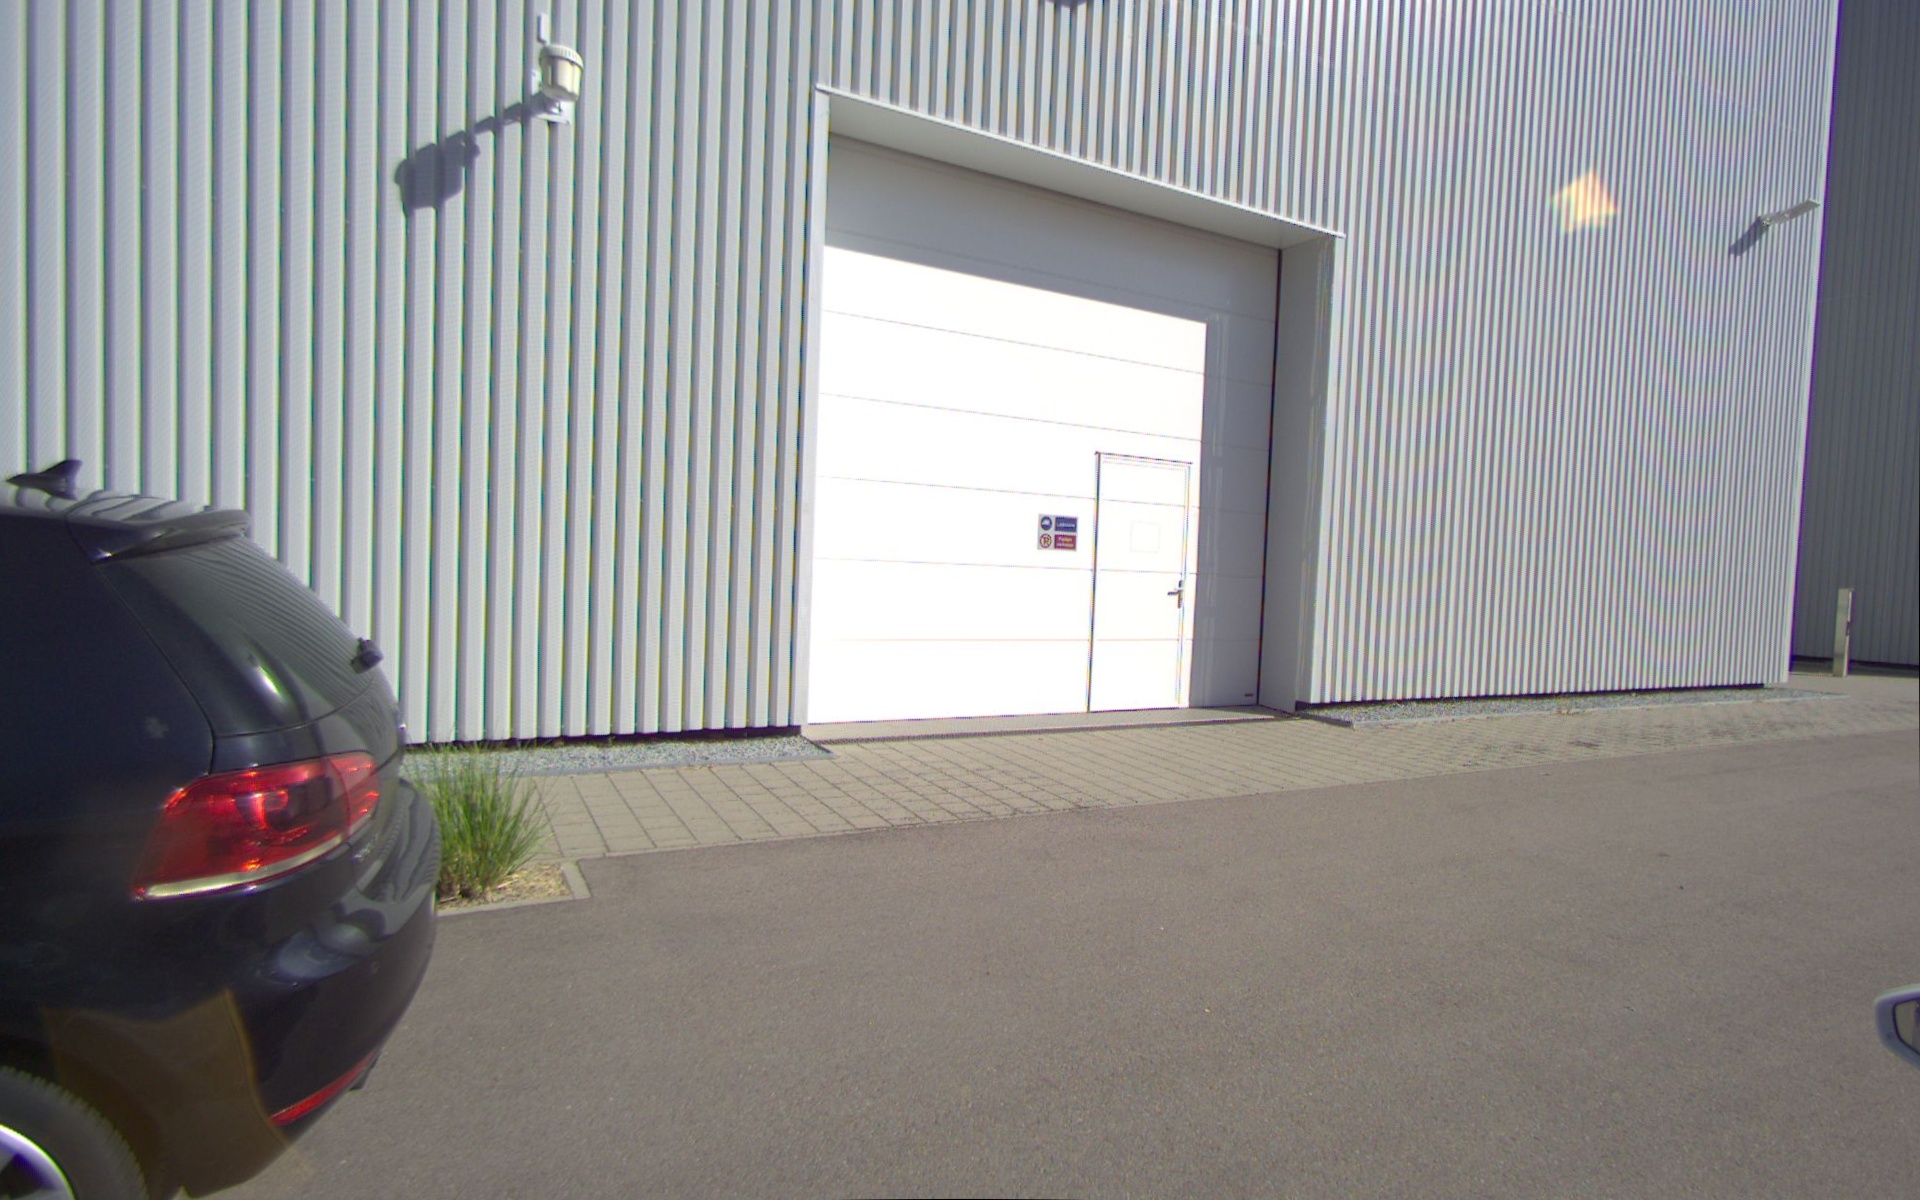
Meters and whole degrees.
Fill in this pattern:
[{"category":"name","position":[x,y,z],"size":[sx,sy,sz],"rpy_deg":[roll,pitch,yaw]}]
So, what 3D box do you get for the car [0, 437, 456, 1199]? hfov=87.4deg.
[{"category":"car","position":[-3.156,0.428,1.509],"size":[4.241,1.520,1.747],"rpy_deg":[1,4,-29]}]
